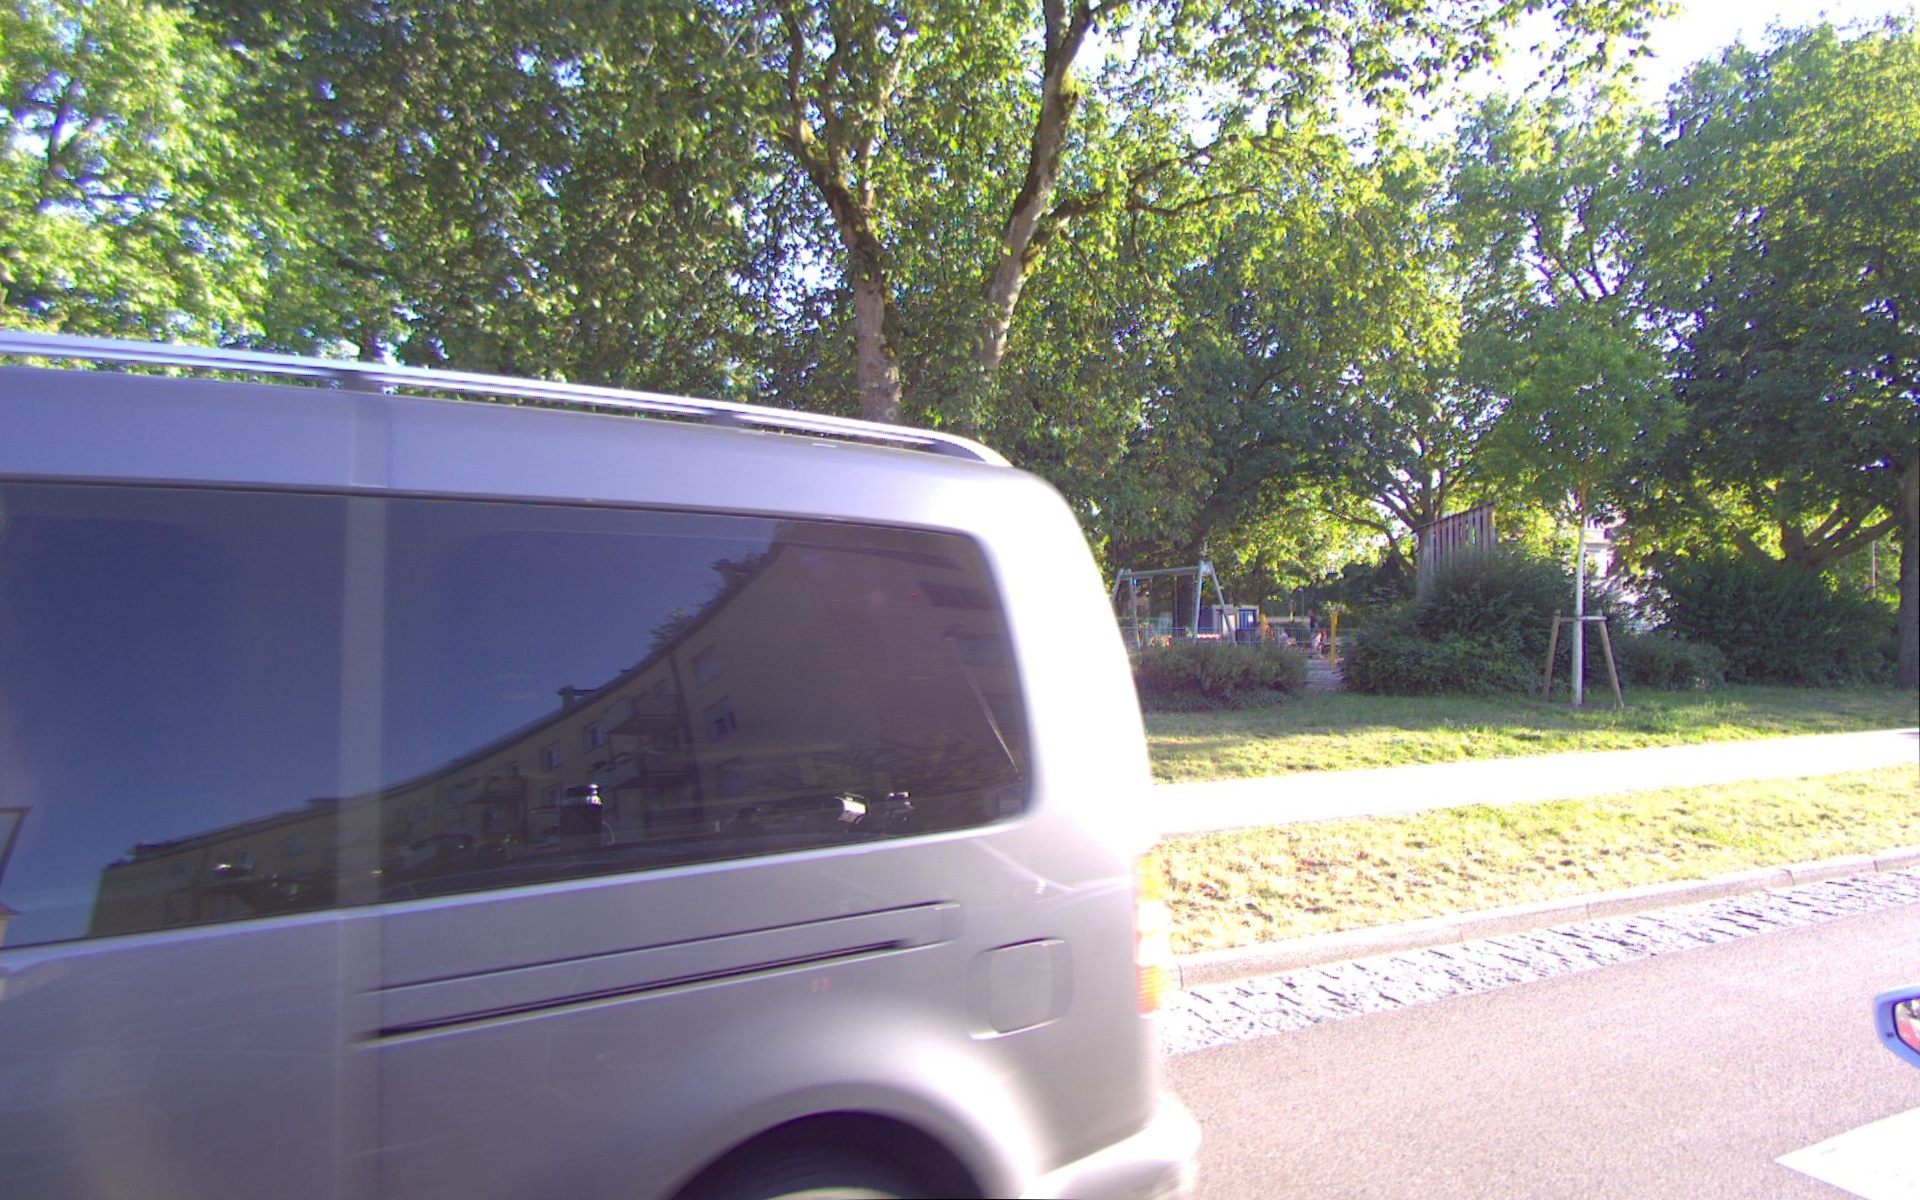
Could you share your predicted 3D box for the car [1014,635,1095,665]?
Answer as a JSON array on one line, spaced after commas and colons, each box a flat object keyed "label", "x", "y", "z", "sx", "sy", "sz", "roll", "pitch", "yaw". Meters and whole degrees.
[{"label": "car", "x": 4.664, "y": 2.464, "z": 49.470, "sx": 3.699, "sy": 1.386, "sz": 1.518, "roll": 0, "pitch": -1, "yaw": -24}]

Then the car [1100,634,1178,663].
[{"label": "car", "x": 9.062, "y": 2.459, "z": 50.933, "sx": 3.699, "sy": 1.386, "sz": 1.518, "roll": 0, "pitch": -1, "yaw": -24}]

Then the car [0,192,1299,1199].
[{"label": "car", "x": -1.827, "y": 0.549, "z": 1.606, "sx": 4.512, "sy": 1.871, "sz": 1.838, "roll": 1, "pitch": -3, "yaw": -26}]

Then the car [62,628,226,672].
[{"label": "car", "x": -27.653, "y": 1.666, "z": 34.191, "sx": 4.052, "sy": 1.386, "sz": 1.518, "roll": 1, "pitch": -1, "yaw": -25}]
